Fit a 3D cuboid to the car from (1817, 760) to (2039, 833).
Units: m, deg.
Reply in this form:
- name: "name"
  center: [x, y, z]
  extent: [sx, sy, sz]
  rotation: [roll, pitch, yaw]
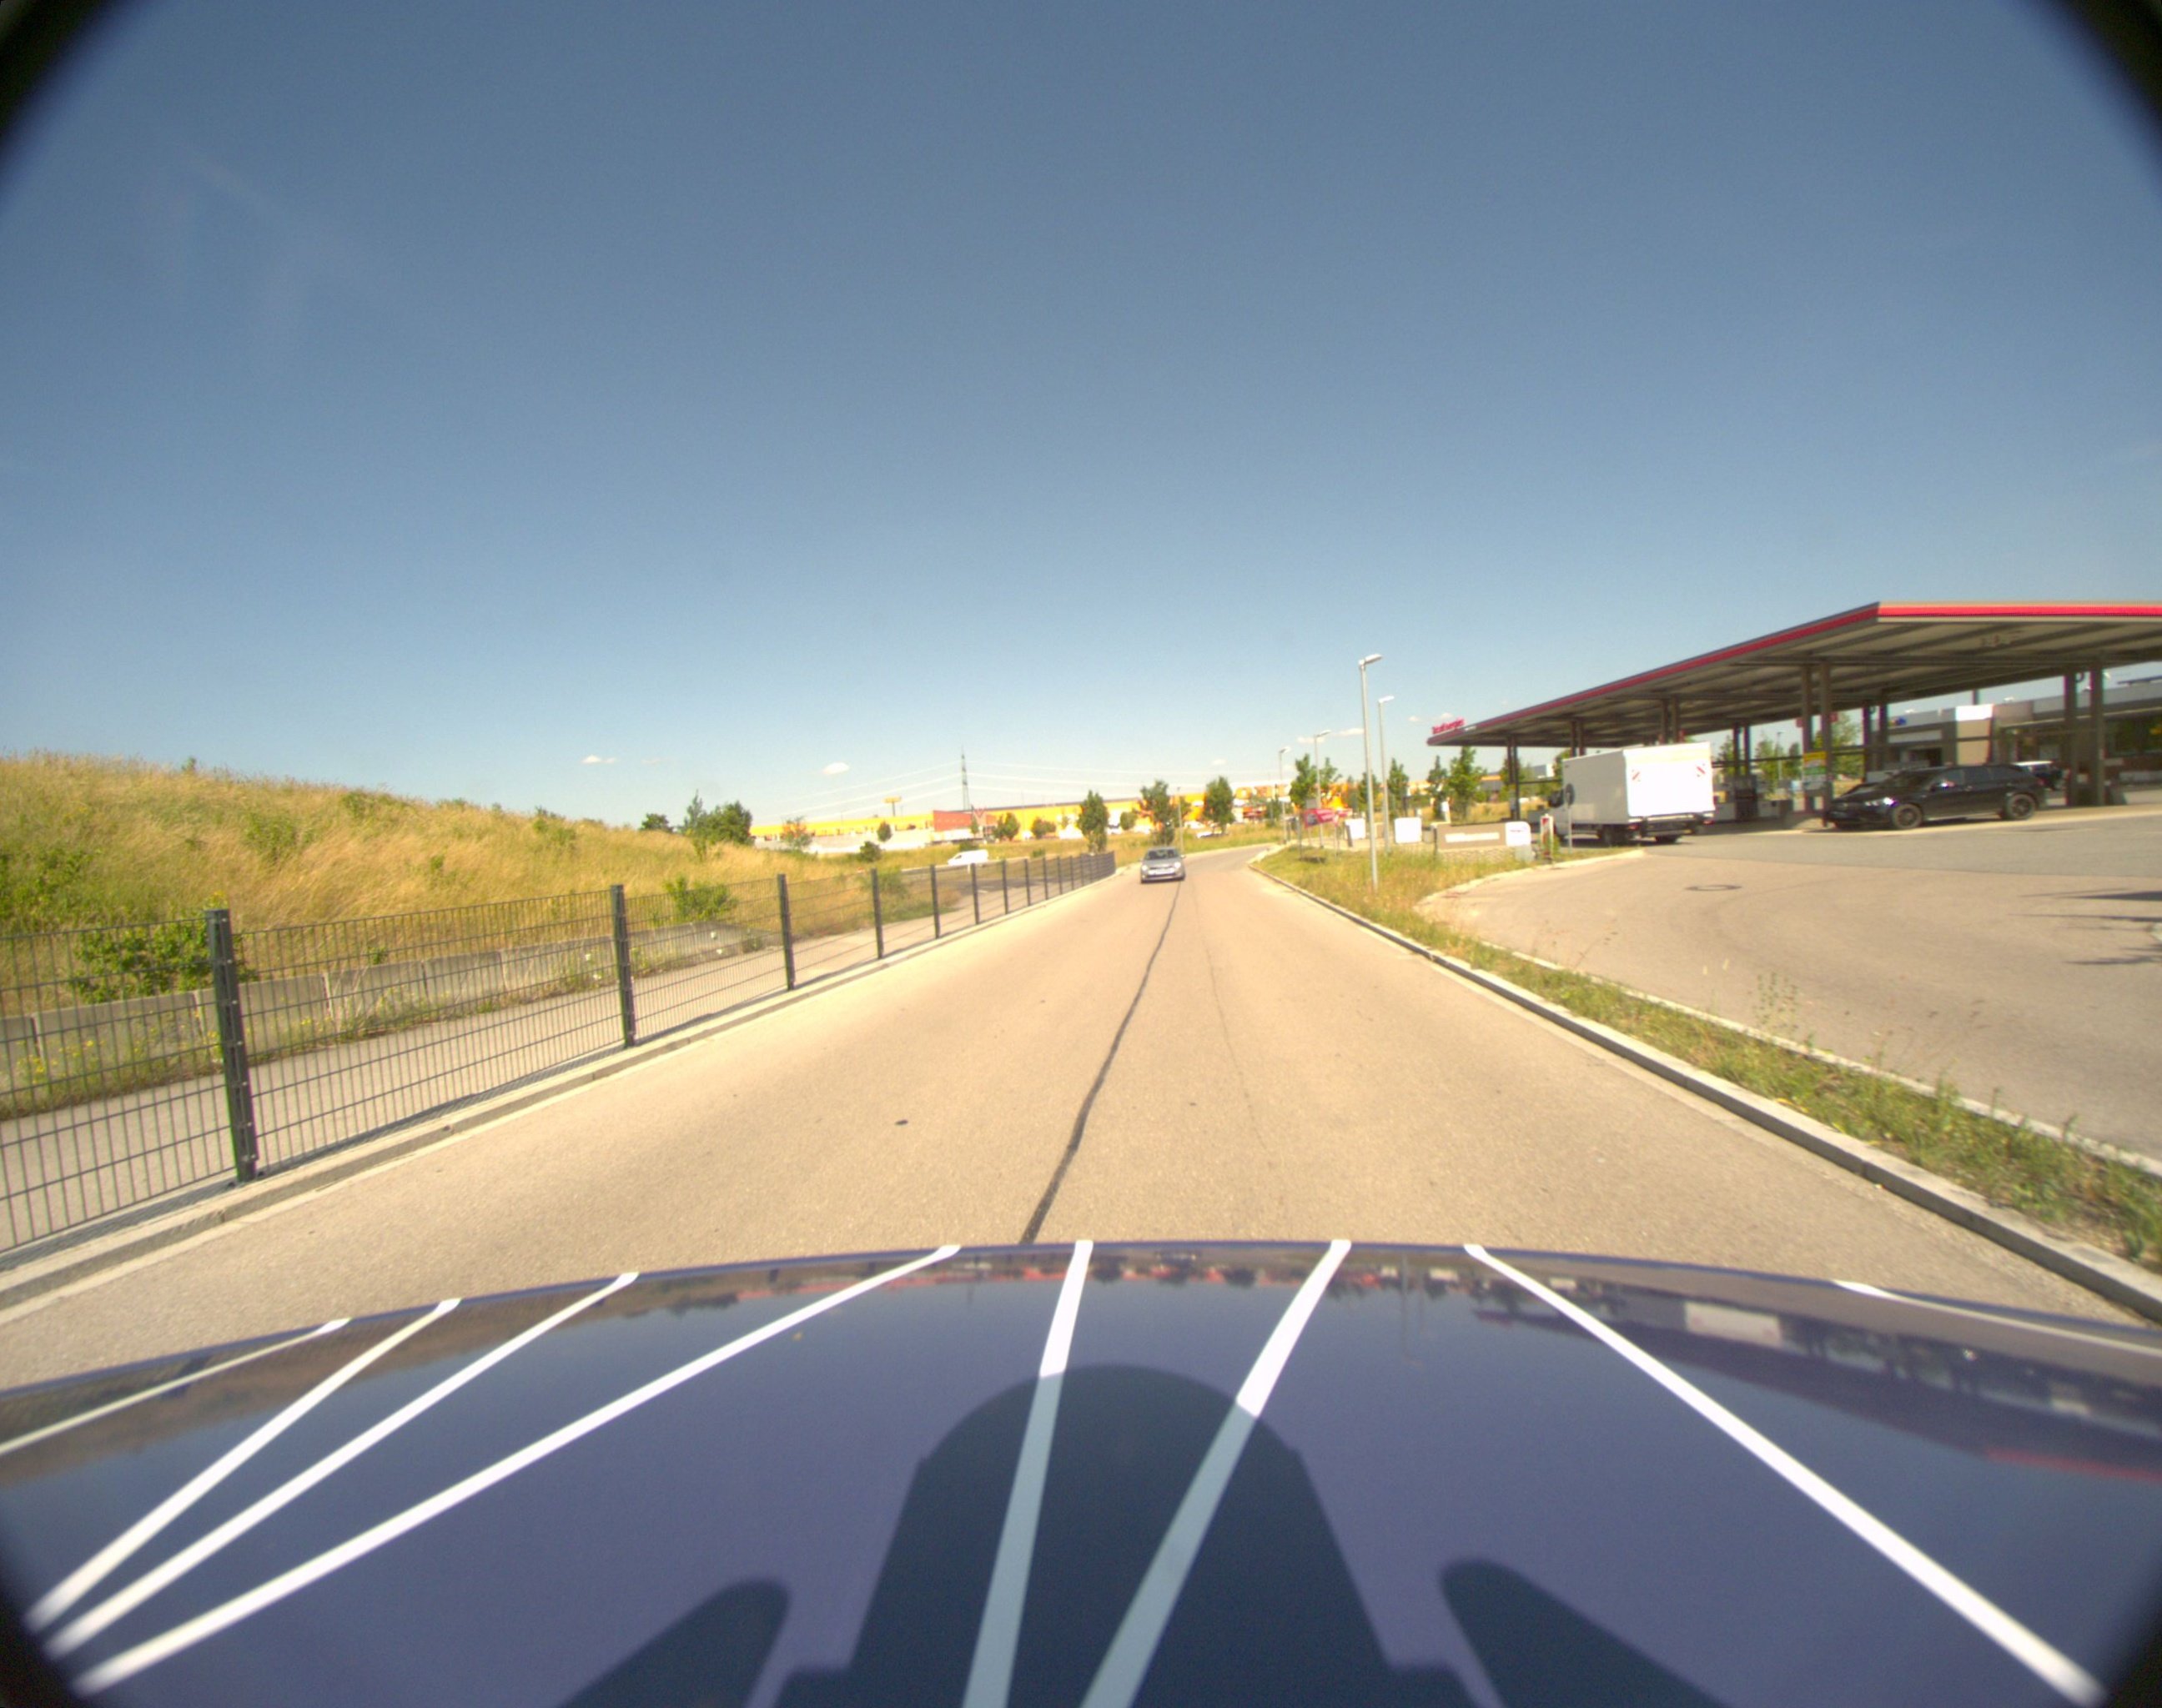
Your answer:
- name: "car"
  center: [25.641, -1.705, 23.120]
  extent: [4.517, 1.748, 1.796]
  rotation: [-4, 1, 3]

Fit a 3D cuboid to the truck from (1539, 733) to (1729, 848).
- name: "truck"
  center: [18.939, -2.024, 26.657]
  extent: [2.638, 3.299, 6.910]
  rotation: [-4, 1, 12]

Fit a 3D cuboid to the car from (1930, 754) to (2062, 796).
- name: "car"
  center: [43.255, -3.710, 35.999]
  extent: [3.680, 1.565, 1.697]
  rotation: [-4, 1, 14]

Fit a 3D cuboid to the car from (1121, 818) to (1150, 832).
- name: "car"
  center: [8.919, -4.756, 124.360]
  extent: [4.632, 2.002, 2.000]
  rotation: [-4, 1, 3]

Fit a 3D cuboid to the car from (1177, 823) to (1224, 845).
- name: "car"
  center: [12.825, -2.139, 81.736]
  extent: [4.753, 2.002, 2.000]
  rotation: [-4, 1, 7]

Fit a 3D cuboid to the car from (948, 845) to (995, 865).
- name: "car"
  center: [-13.406, 0.155, 93.470]
  extent: [5.250, 2.002, 2.000]
  rotation: [-4, 1, 2]

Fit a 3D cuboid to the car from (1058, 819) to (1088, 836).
- name: "car"
  center: [-1.263, -4.366, 125.397]
  extent: [4.632, 2.534, 2.000]
  rotation: [-4, 1, 3]

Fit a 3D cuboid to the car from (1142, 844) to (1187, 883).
- name: "car"
  center: [3.534, 0.342, 32.113]
  extent: [1.745, 1.460, 3.961]
  rotation: [-1, 1, 7]
